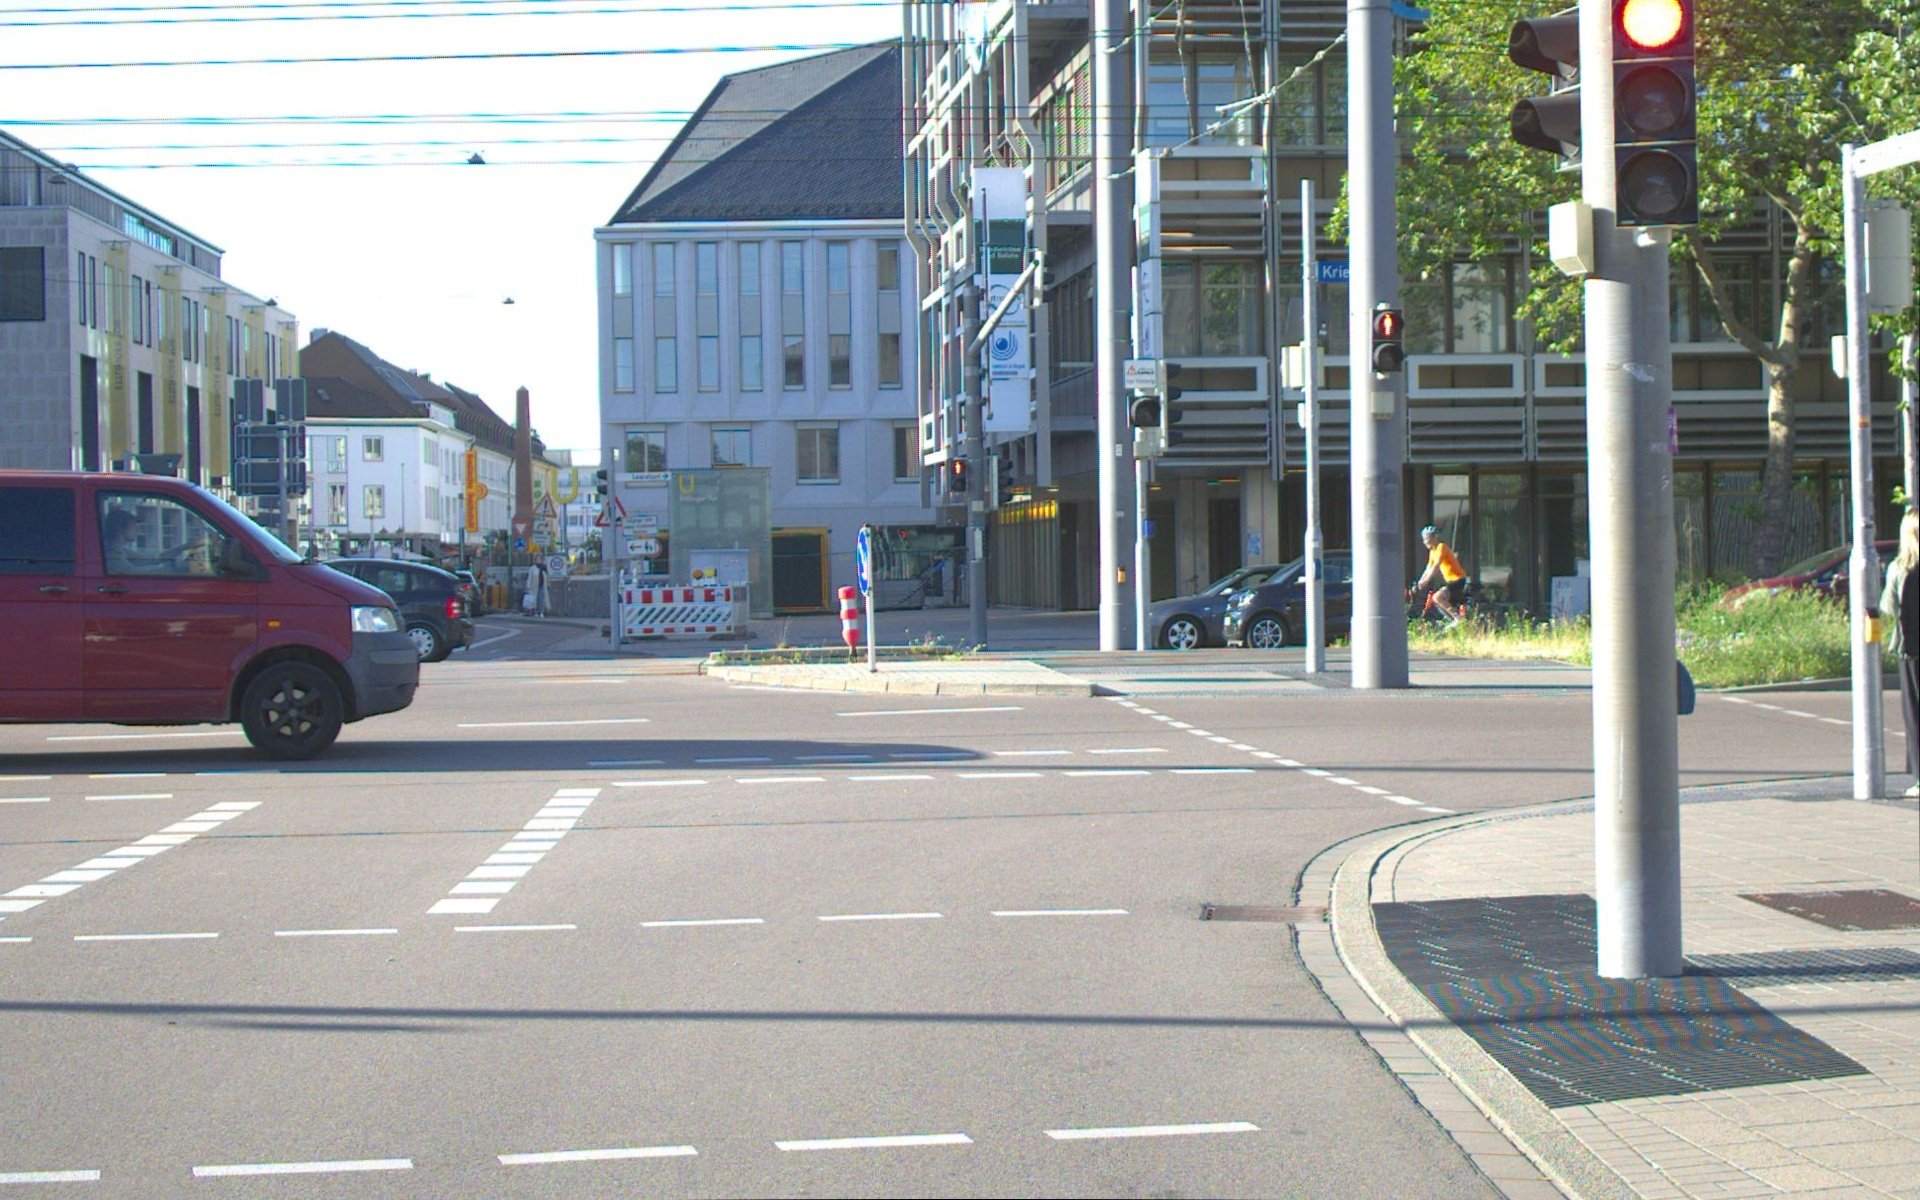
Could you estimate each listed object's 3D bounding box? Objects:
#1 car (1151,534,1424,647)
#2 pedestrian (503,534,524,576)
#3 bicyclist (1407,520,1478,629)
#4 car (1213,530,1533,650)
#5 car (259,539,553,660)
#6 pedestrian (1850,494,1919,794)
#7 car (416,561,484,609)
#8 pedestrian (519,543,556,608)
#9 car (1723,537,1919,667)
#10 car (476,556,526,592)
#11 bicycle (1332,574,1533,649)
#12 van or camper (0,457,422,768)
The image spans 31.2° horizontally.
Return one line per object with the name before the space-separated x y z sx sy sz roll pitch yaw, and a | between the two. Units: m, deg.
car | 5.062 -0.160 53.491 3.986 1.678 1.826 -1 1 -3
pedestrian | -21.392 -2.157 164.692 0.910 1.958 0.823 1 0 -1
bicyclist | 6.613 -0.354 47.132 0.822 1.469 0.652 -1 1 -4
car | 6.043 -0.161 50.558 4.403 1.678 1.826 -1 1 -3
car | -7.985 -0.024 49.830 3.986 1.678 1.761 -1 1 -1
pedestrian | 5.405 0.227 18.888 0.765 1.608 0.874 -1 1 -2
car | -16.015 -0.480 108.085 1.658 1.453 3.542 -1 1 -1
pedestrian | -11.605 -0.686 94.494 0.899 1.776 0.808 -1 1 -1
car | 12.714 -0.002 46.483 4.287 1.678 1.826 -1 1 -11
car | -19.457 -1.107 145.742 1.658 1.453 3.542 -1 1 -1
bicycle | 6.457 0.155 47.123 2.568 0.972 1.047 -1 1 -3
van or camper | -6.185 0.070 23.394 4.825 2.007 2.008 -1 1 -13
